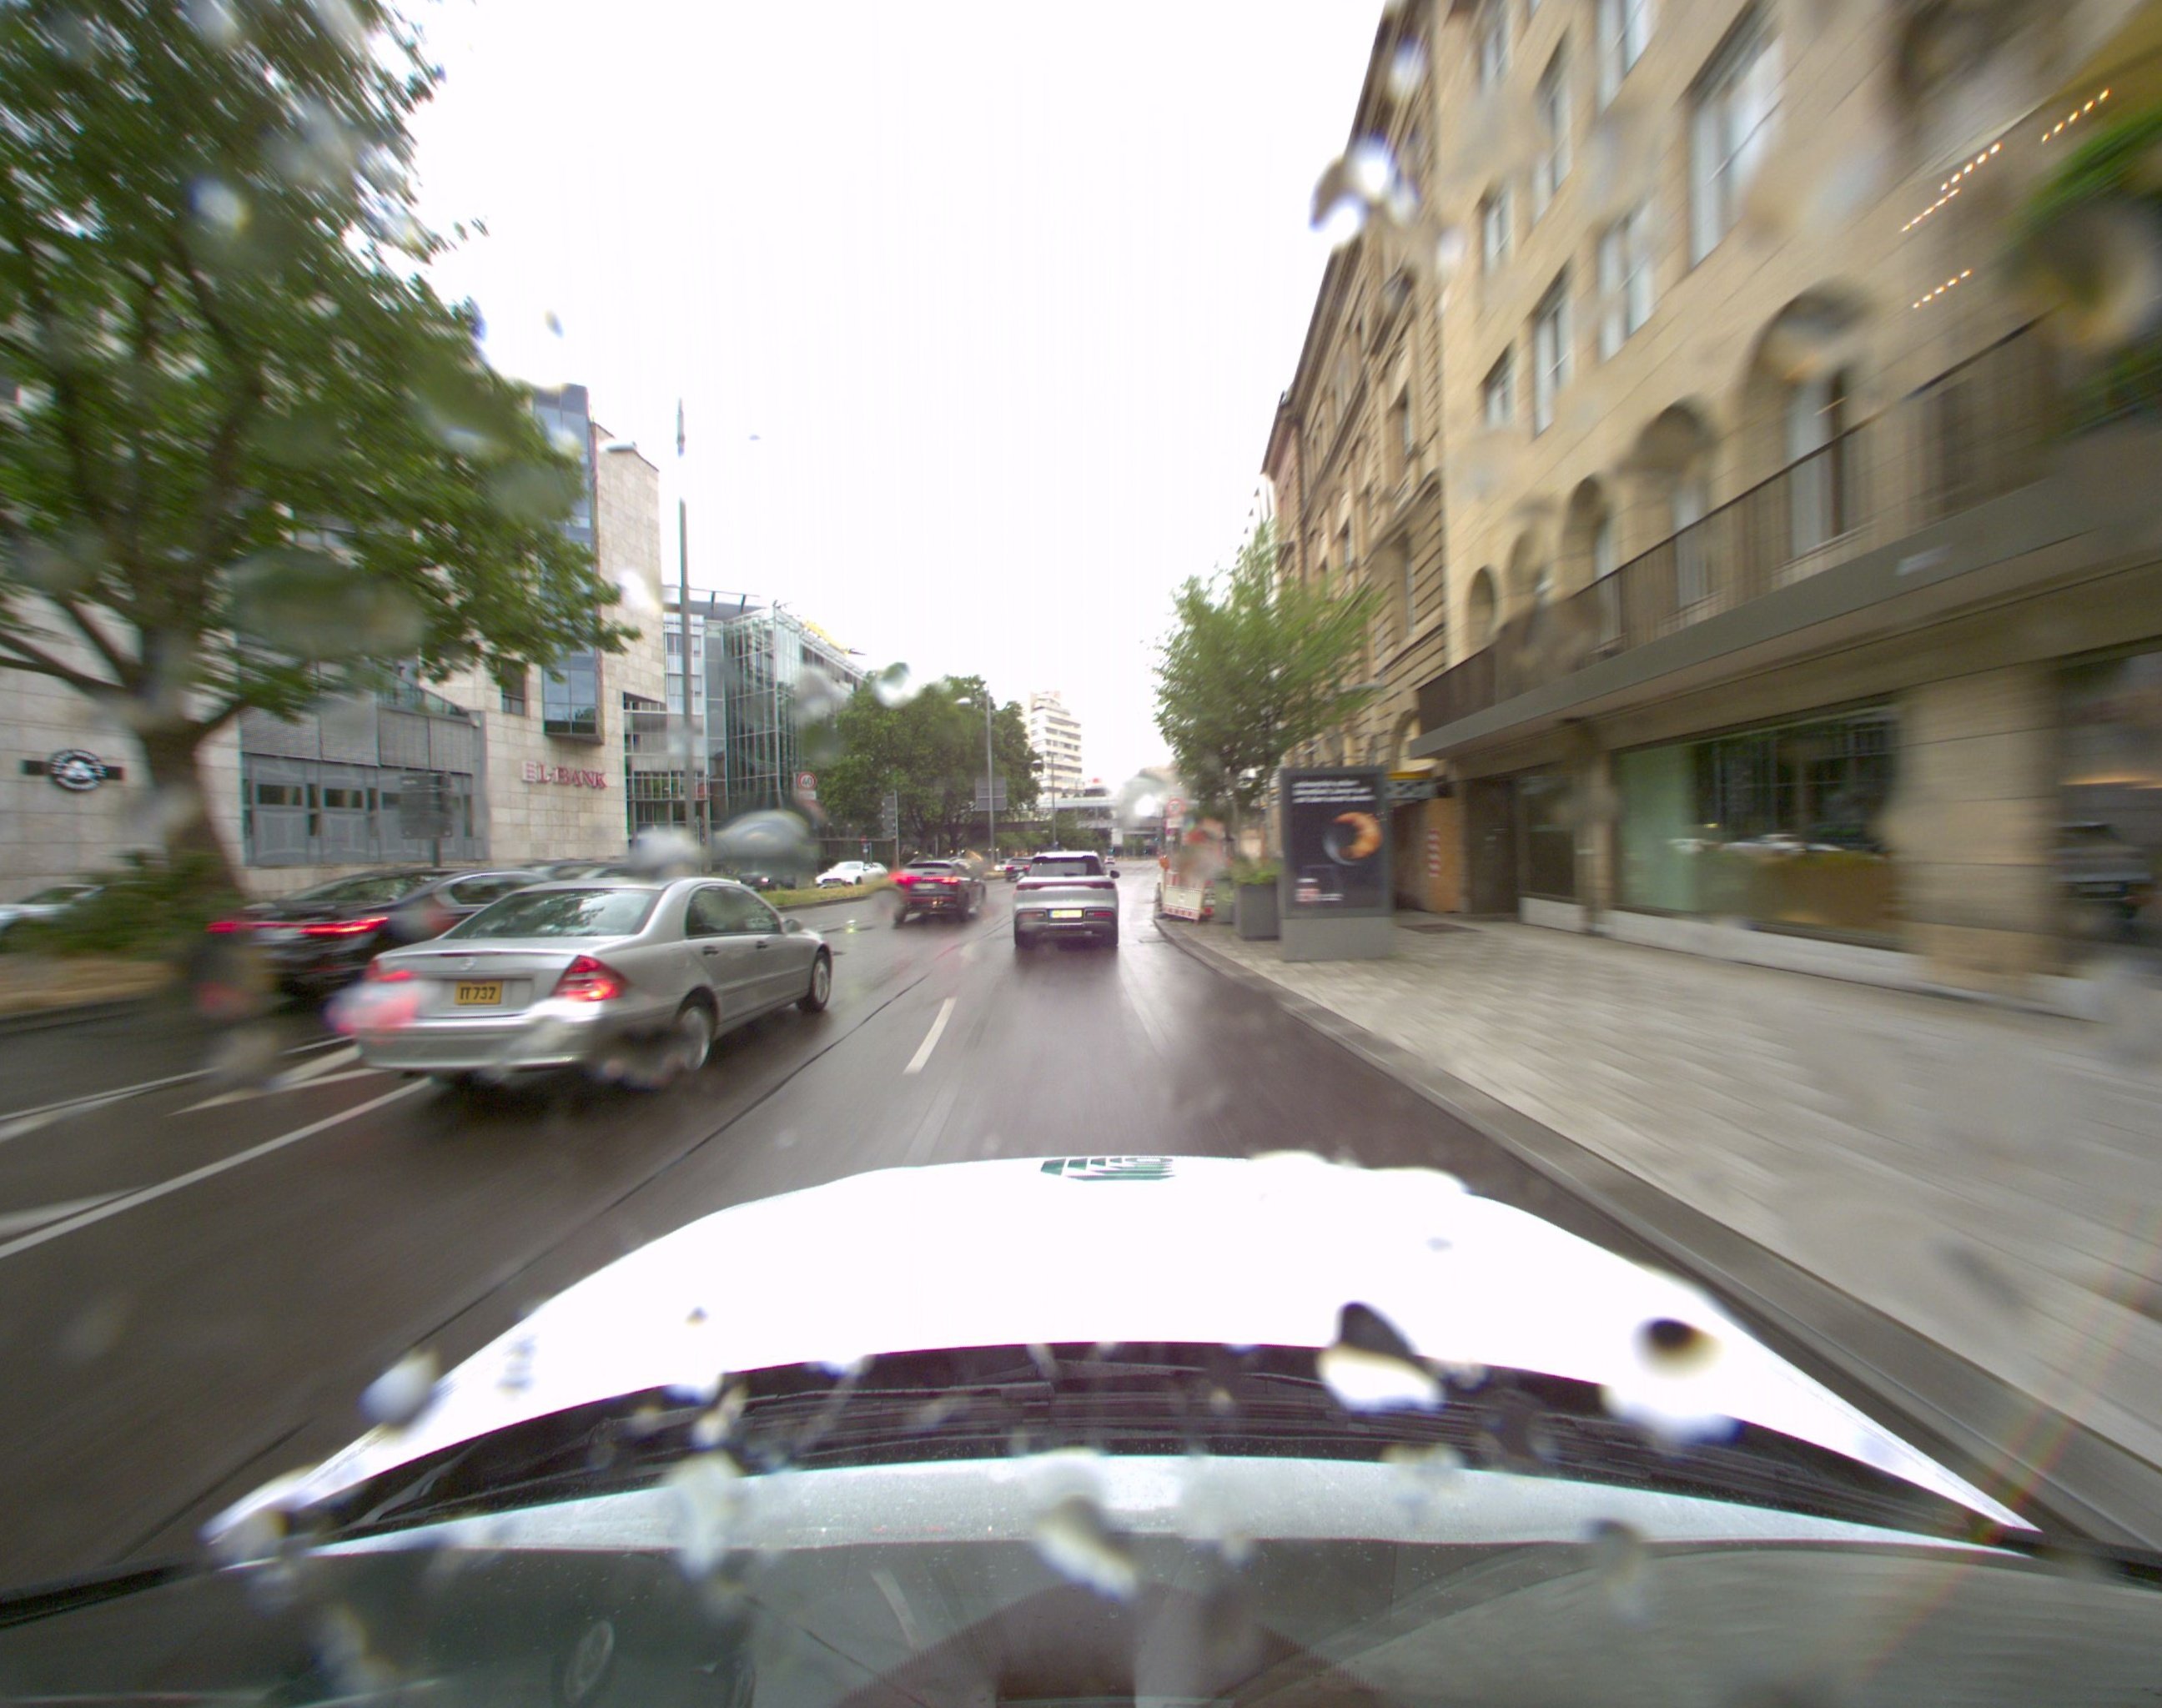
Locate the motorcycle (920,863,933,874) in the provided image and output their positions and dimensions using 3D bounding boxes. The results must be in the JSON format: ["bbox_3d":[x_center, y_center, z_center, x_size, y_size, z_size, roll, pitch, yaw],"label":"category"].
[{"bbox_3d":[-13.569,1.251,71.563,0.691,0.970,1.399,-1,-1,7],"label":"motorcycle"}]

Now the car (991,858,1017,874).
[{"bbox_3d":[-7.170,1.136,76.124,1.588,1.360,4.125,-2,-1,7],"label":"car"}]

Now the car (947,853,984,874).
[{"bbox_3d":[-8.571,0.700,60.765,1.691,1.437,4.589,-1,-1,6],"label":"car"}]

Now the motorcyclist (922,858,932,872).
[{"bbox_3d":[-13.567,0.943,71.600,0.671,1.238,0.620,-1,-1,6],"label":"motorcyclist"}]

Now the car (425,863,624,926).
[{"bbox_3d":[-13.474,0.939,20.042,1.736,1.365,3.955,-2,-1,11],"label":"car"}]

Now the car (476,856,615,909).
[{"bbox_3d":[-18.175,0.934,27.876,1.822,1.639,4.096,-1,-1,4],"label":"car"}]

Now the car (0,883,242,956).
[{"bbox_3d":[-22.892,1.441,18.799,1.736,1.416,4.718,-2,-1,10],"label":"car"}]

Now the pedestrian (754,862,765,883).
[{"bbox_3d":[-24.308,1.376,61.554,0.668,1.570,0.817,-1,1,-17],"label":"pedestrian"}]

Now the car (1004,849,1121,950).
[{"bbox_3d":[-0.340,0.742,15.190,1.896,1.621,3.998,0,0,-1],"label":"car"}]

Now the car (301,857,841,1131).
[{"bbox_3d":[-3.473,0.783,6.702,1.667,1.479,4.360,0,0,0],"label":"car"}]

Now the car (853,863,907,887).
[{"bbox_3d":[-12.657,1.301,51.628,1.717,1.432,4.406,-2,-1,9],"label":"car"}]

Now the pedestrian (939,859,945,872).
[{"bbox_3d":[-19.560,1.644,114.799,0.719,1.808,0.618,-1,0,5],"label":"pedestrian"}]

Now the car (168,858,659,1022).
[{"bbox_3d":[-7.813,0.864,10.398,1.863,1.479,4.887,-1,1,6],"label":"car"}]

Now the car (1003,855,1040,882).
[{"bbox_3d":[-3.553,0.864,49.470,1.805,1.578,4.001,-1,0,2],"label":"car"}]

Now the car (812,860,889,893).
[{"bbox_3d":[-10.835,1.053,38.548,1.849,1.442,4.323,-2,-1,9],"label":"car"}]

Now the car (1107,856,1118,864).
[{"bbox_3d":[5.707,1.102,149.319,1.645,1.342,4.008,-1,0,7],"label":"car"}]

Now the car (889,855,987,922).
[{"bbox_3d":[-3.444,0.818,20.304,1.769,1.457,3.998,-1,-1,-1],"label":"car"}]

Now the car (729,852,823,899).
[{"bbox_3d":[-14.145,0.986,38.124,1.820,2.002,5.116,-2,-1,9],"label":"car"}]
